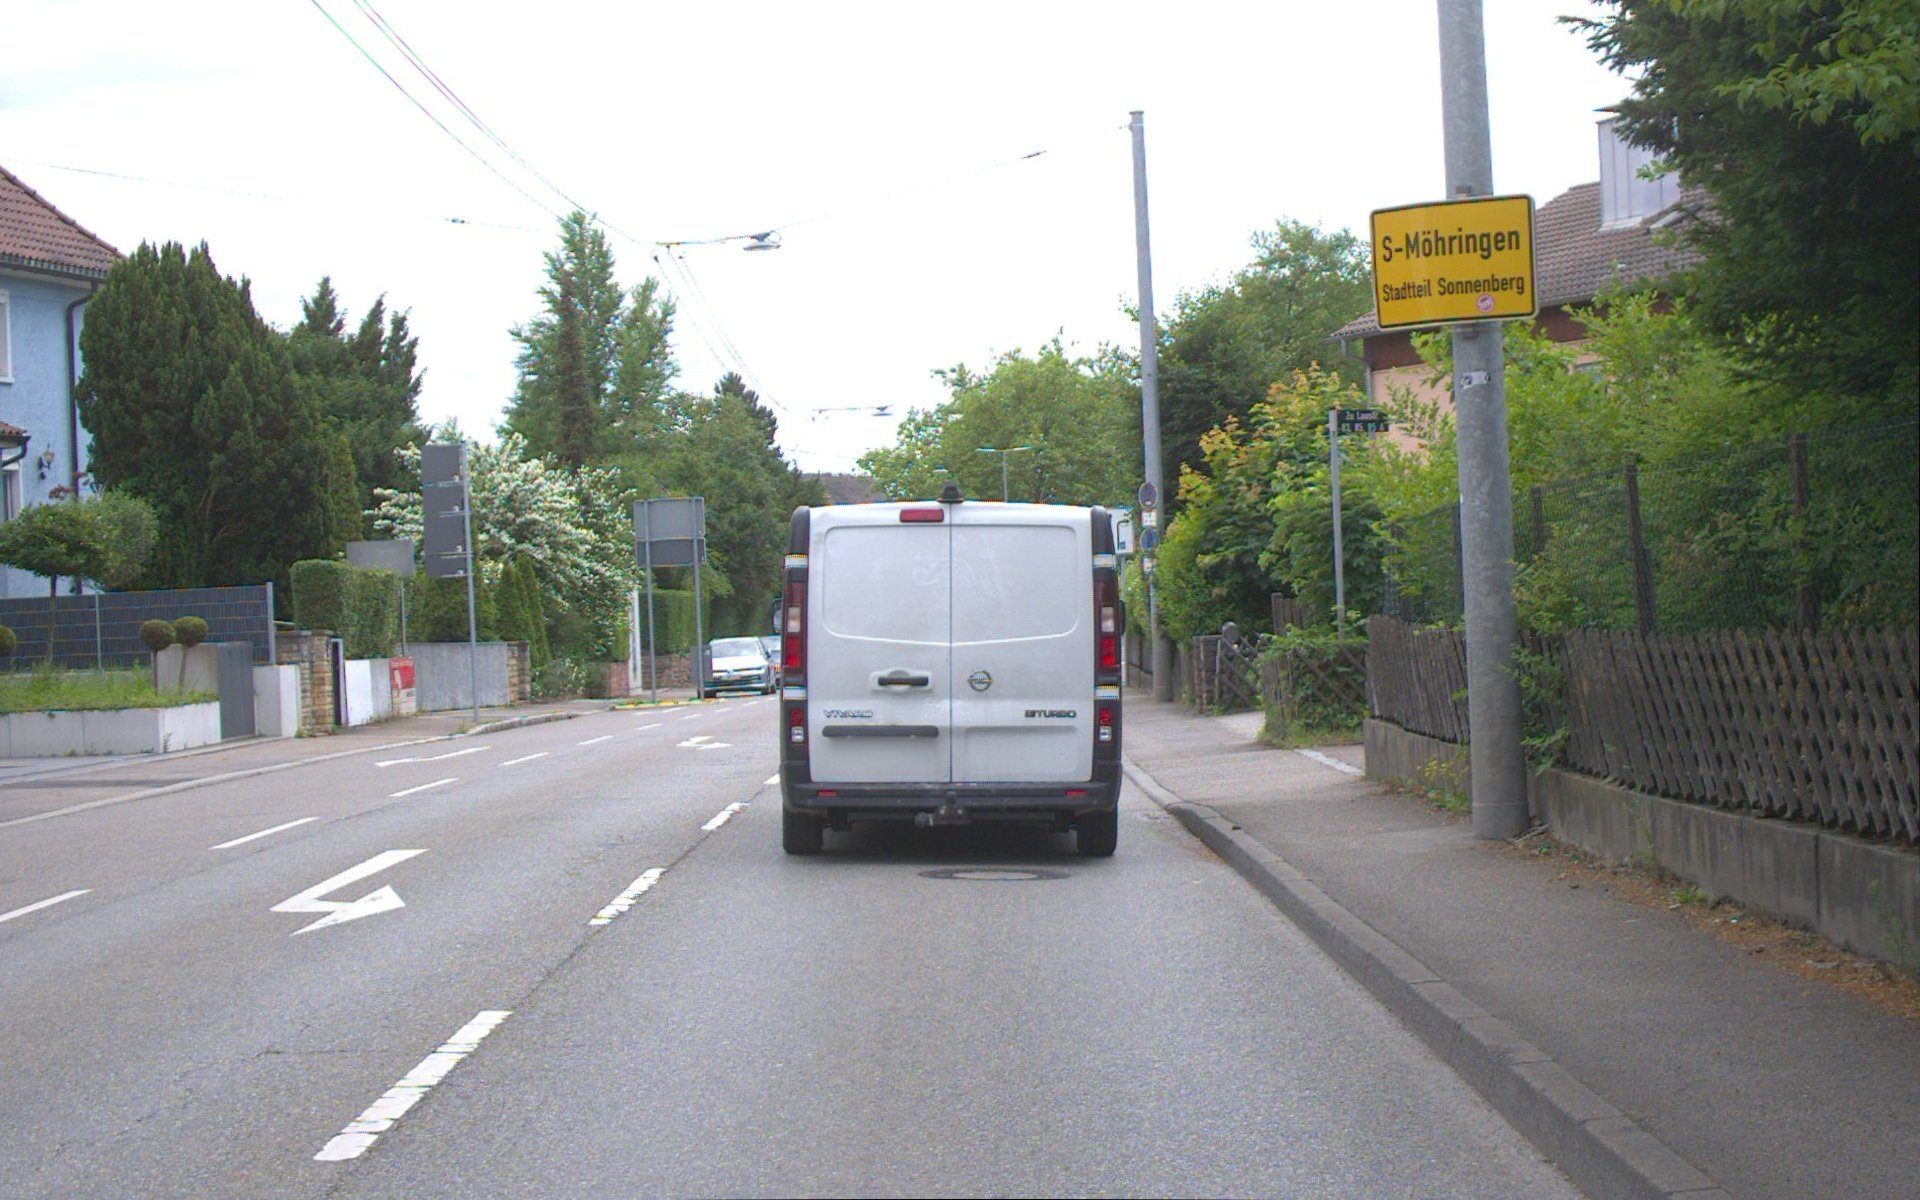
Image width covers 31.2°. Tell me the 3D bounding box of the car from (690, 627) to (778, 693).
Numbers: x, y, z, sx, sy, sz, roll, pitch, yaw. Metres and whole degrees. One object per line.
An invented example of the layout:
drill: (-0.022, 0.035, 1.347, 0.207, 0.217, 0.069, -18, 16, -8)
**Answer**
car: (-5.528, 1.449, 84.562, 1.809, 1.450, 4.413, -4, 0, 0)

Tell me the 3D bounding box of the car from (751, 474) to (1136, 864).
car: (-0.090, 0.335, 20.503, 2.006, 2.031, 5.010, 0, 1, 0)

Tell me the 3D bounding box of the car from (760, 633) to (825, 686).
car: (-5.220, 1.844, 107.584, 1.755, 1.489, 4.193, -3, 0, 0)

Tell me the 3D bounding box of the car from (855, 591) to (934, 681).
car: (-2.030, 1.085, 107.766, 2.111, 2.489, 6.125, -2, 2, 2)

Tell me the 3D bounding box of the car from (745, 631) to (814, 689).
car: (-5.212, 1.739, 99.684, 1.678, 1.551, 3.971, -3, -1, 1)
